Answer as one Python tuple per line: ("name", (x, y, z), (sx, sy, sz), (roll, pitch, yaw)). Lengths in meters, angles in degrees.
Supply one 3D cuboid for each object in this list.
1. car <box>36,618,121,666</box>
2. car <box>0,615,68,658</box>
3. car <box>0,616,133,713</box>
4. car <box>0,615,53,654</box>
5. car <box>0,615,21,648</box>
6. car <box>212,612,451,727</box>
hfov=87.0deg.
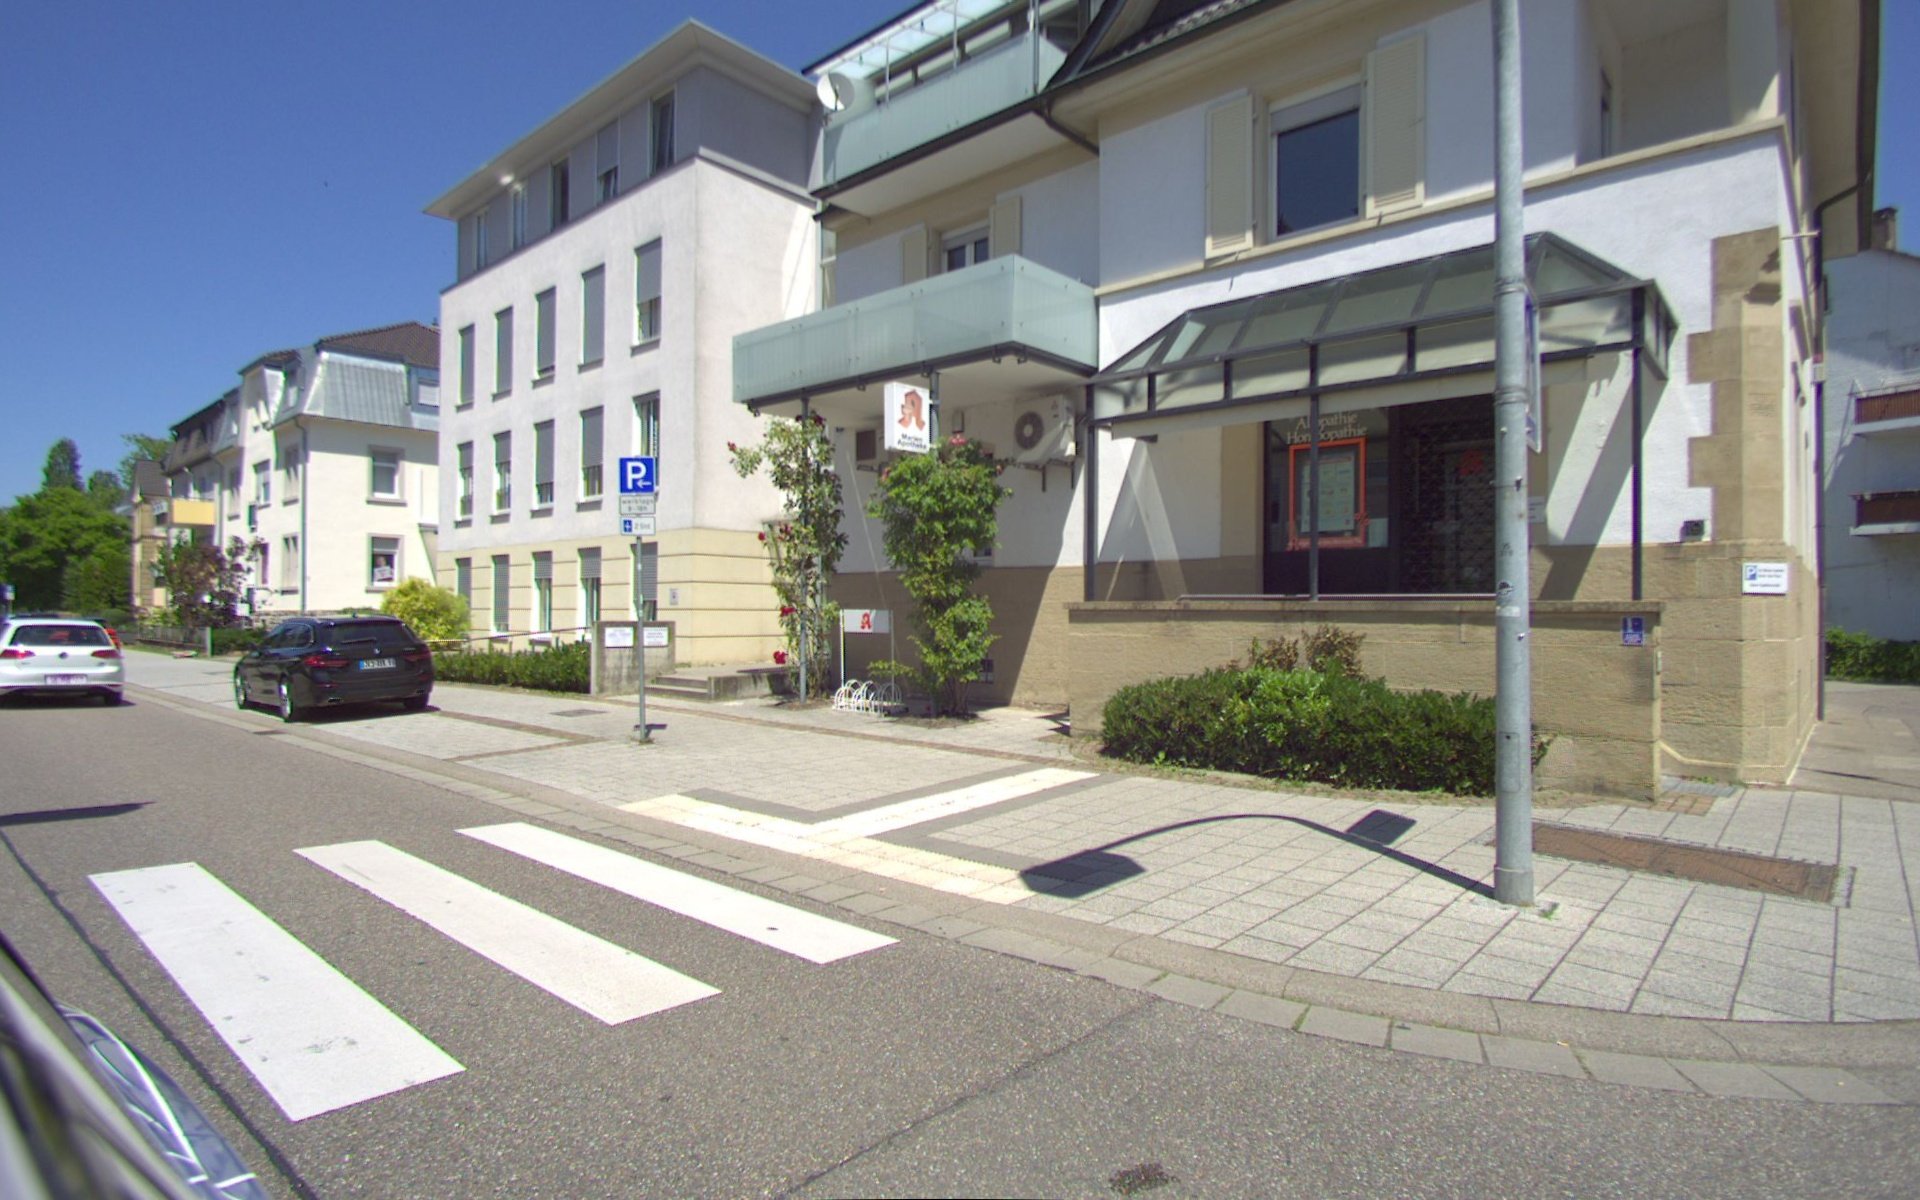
("car", (-30.229, 1.392, 34.663), (4.260, 1.463, 1.714), (-1, 1, 43))
("car", (-38.700, 1.479, 42.134), (4.435, 1.598, 1.899), (-1, 1, 43))
("car", (-15.841, 1.054, 17.430), (3.867, 1.493, 1.789), (-1, -3, 41))
("car", (-42.705, 1.535, 45.929), (4.287, 1.598, 1.899), (-1, 1, 43))
("car", (-53.209, 1.734, 55.765), (4.288, 1.703, 1.899), (-1, 1, 44))
("car", (-10.033, 0.971, 15.963), (5.149, 1.463, 1.896), (-1, 1, 43))
